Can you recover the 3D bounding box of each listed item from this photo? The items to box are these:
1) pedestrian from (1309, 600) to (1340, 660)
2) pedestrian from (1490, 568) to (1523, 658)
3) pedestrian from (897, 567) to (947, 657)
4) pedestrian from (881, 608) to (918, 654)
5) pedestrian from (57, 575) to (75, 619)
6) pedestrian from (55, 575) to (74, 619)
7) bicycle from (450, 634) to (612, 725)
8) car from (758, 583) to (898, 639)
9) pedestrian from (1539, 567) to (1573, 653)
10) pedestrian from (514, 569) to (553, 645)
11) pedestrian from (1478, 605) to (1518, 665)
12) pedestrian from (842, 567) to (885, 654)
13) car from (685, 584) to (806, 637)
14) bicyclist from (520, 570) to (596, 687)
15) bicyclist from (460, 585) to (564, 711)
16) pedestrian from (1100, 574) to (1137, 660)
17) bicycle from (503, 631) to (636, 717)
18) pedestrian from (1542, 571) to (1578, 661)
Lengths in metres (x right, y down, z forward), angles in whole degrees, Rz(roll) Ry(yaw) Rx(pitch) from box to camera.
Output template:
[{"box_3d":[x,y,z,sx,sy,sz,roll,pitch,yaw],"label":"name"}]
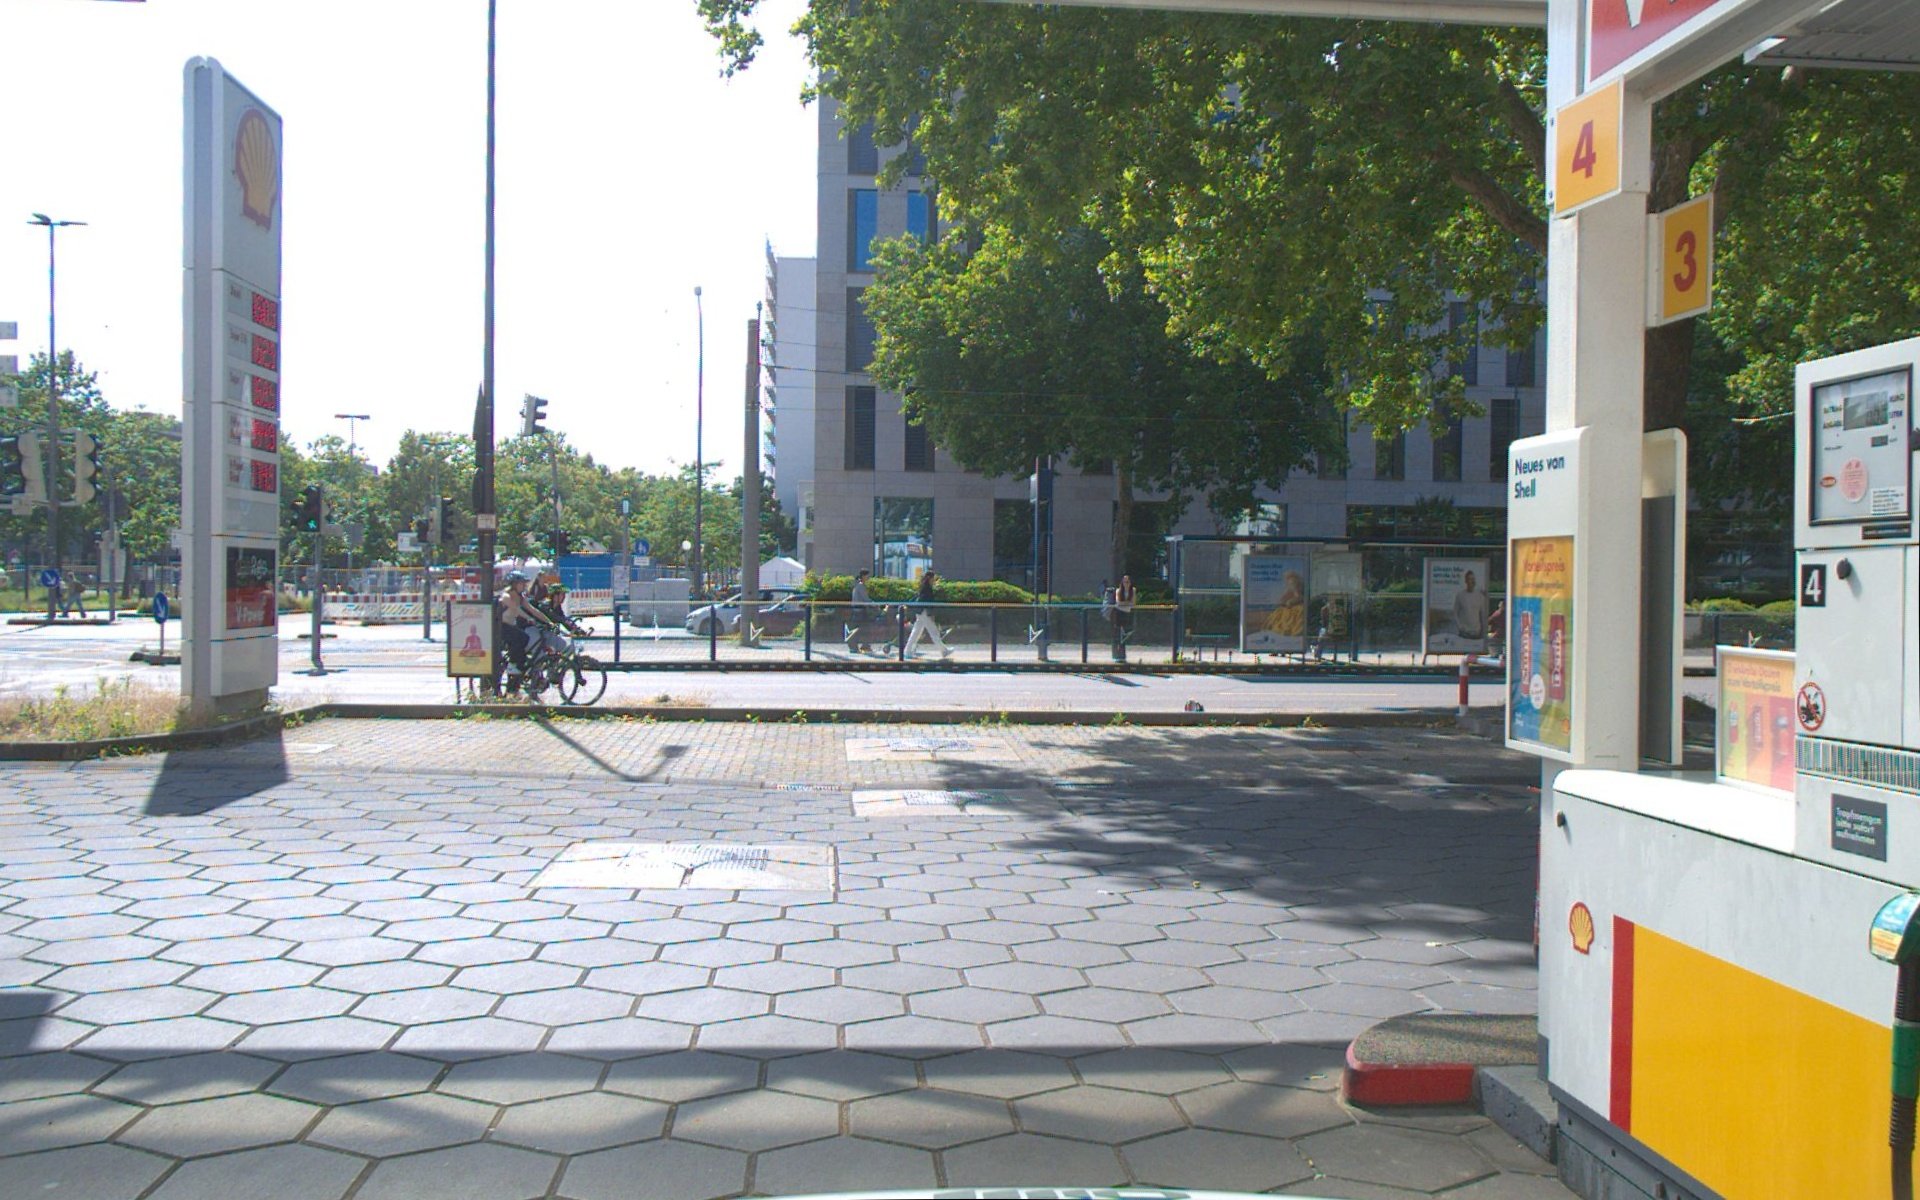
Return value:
[{"box_3d":[7.140,0.590,32.402,0.488,1.157,0.524,1,0,1],"label":"pedestrian"},{"box_3d":[10.822,0.253,32.754,0.489,1.766,0.406,1,0,-2],"label":"pedestrian"},{"box_3d":[-0.731,0.221,31.821,0.912,1.712,0.503,1,0,4],"label":"pedestrian"},{"box_3d":[-1.198,0.607,32.827,0.676,0.895,0.503,1,0,4],"label":"pedestrian"},{"box_3d":[-30.901,-0.114,57.161,0.557,1.494,0.508,0,0,-30],"label":"pedestrian"},{"box_3d":[-30.473,-0.114,56.301,0.557,1.494,0.508,0,0,-30],"label":"pedestrian"},{"box_3d":[-5.594,1.024,21.561,1.977,1.101,0.640,1,0,15],"label":"bicycle"},{"box_3d":[-3.858,0.310,48.007,3.915,1.579,1.699,0,1,-11],"label":"car"},{"box_3d":[12.378,0.202,34.374,0.489,1.766,0.524,1,0,-2],"label":"pedestrian"},{"box_3d":[-8.927,0.142,34.631,0.636,1.567,0.503,1,0,4],"label":"pedestrian"},{"box_3d":[10.670,0.691,32.807,0.615,1.157,0.524,1,0,1],"label":"pedestrian"},{"box_3d":[-1.914,0.201,32.874,0.760,1.712,0.503,1,0,4],"label":"pedestrian"},{"box_3d":[-6.613,0.305,50.779,3.615,1.579,1.588,0,0,-11],"label":"car"},{"box_3d":[-5.509,0.376,22.702,0.845,1.571,0.535,1,0,23],"label":"bicyclist"},{"box_3d":[-5.857,0.612,21.637,1.144,1.608,0.640,1,0,16],"label":"bicyclist"},{"box_3d":[3.048,0.315,31.867,0.572,1.619,0.669,1,2,-6],"label":"pedestrian"},{"box_3d":[-5.358,0.996,22.674,1.823,1.101,0.524,1,0,23],"label":"bicycle"},{"box_3d":[11.900,0.321,32.805,0.489,1.766,0.524,1,0,-2],"label":"pedestrian"}]
